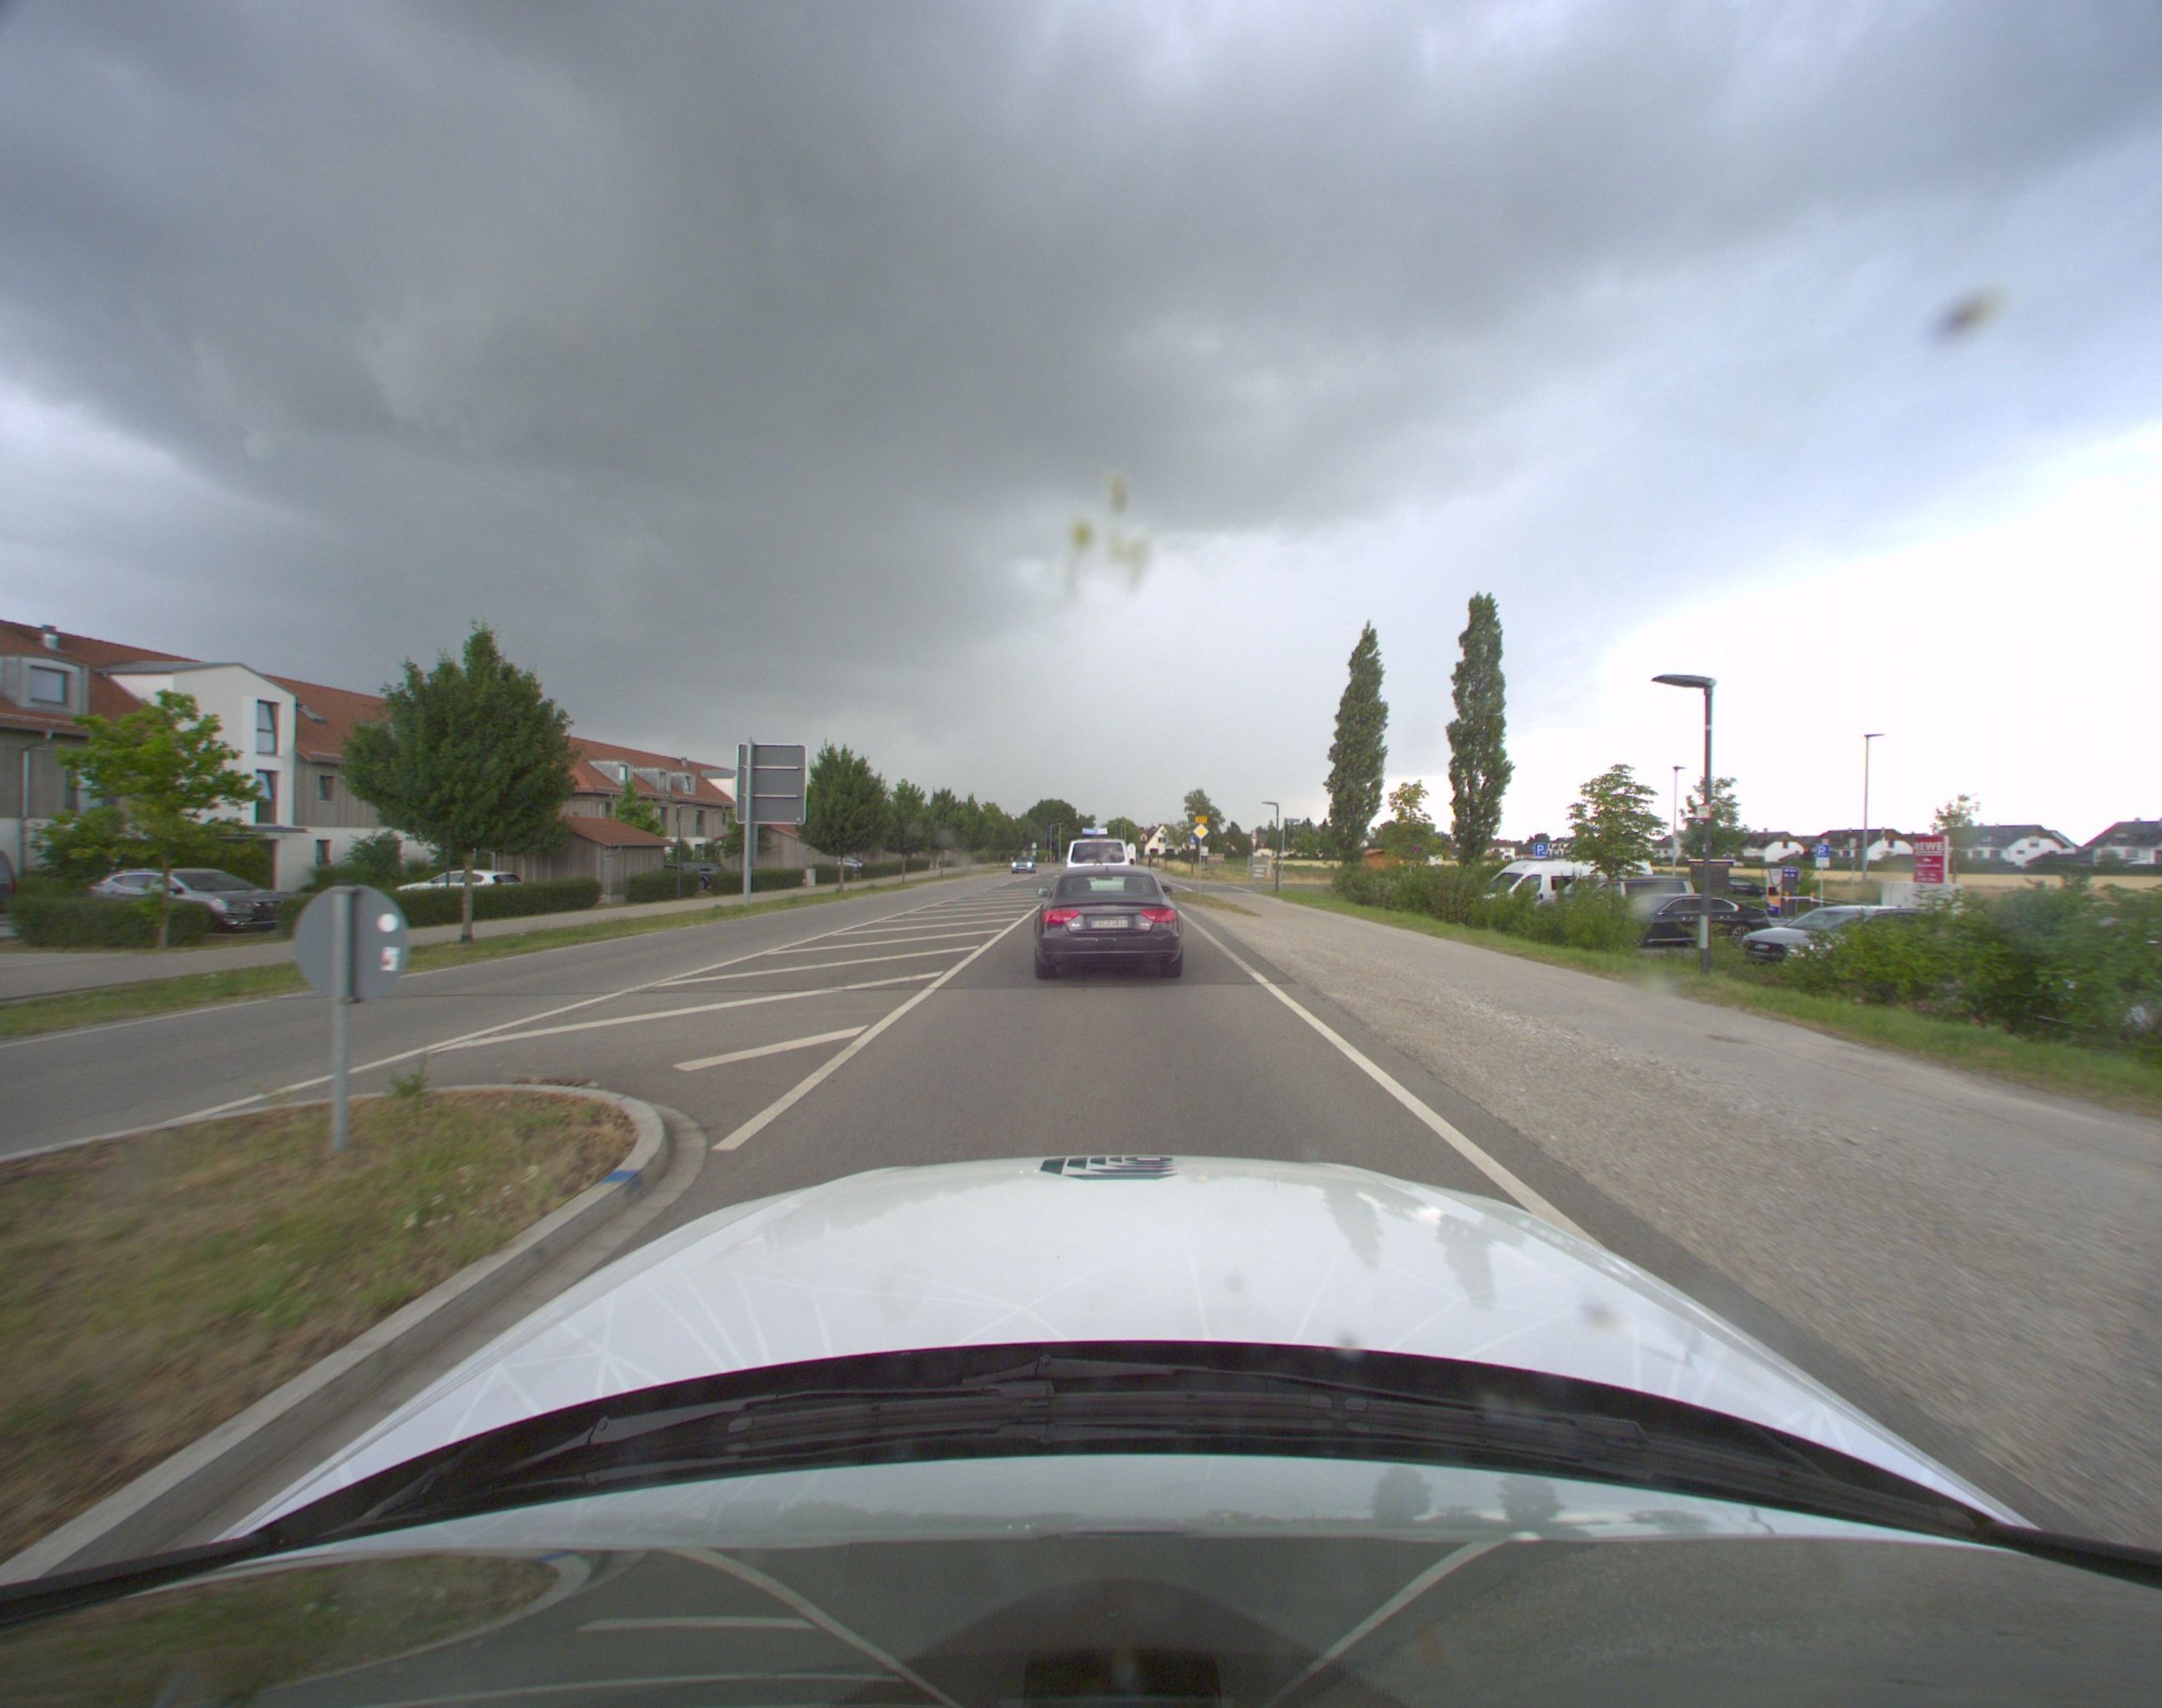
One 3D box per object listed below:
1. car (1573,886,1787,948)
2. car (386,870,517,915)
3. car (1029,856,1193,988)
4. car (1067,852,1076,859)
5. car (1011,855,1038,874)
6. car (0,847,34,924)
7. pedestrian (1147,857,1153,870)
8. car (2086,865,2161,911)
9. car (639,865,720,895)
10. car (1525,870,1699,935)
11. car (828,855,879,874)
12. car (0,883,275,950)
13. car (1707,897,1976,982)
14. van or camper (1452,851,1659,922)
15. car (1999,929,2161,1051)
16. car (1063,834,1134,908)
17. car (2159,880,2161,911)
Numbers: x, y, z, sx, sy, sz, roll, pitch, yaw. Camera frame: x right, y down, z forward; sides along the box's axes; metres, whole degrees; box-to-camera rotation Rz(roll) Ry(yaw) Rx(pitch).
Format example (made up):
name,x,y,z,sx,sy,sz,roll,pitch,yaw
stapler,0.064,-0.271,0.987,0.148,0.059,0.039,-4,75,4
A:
name,x,y,z,sx,sy,sz,roll,pitch,yaw
car,17.613,1.824,24.111,5.079,1.598,1.758,-1,0,-1
car,-22.757,1.375,29.534,3.501,1.489,1.564,-1,0,1
car,0.245,0.762,11.316,1.821,1.388,4.383,-1,0,-3
car,-1.822,0.284,158.645,1.647,1.429,3.603,-1,0,1
car,-4.698,0.838,68.003,1.763,1.443,4.002,-1,0,2
car,-30.294,0.830,20.058,1.984,2.013,5.207,3,1,5
pedestrian,8.202,1.123,97.225,0.621,1.525,0.680,-1,0,1
car,50.814,1.580,38.400,1.986,2.013,4.002,-1,0,2
car,-21.277,1.362,43.206,3.501,1.489,1.564,-1,0,1
car,17.833,1.597,27.514,4.578,2.013,2.000,-1,0,-1
car,-20.730,0.950,74.183,3.970,1.556,2.002,2,0,3
car,-23.280,1.505,20.135,4.885,1.430,1.907,-1,0,2
car,16.925,1.863,18.307,4.133,1.598,2.080,-1,0,-1
van or camper,17.634,1.166,30.502,6.447,2.464,2.281,-1,0,-1
car,17.099,2.016,12.521,4.133,1.538,1.676,-1,0,-1
car,0.479,0.442,23.551,1.820,1.913,4.000,2,0,0
car,54.027,2.053,38.386,1.738,1.508,3.581,-1,0,2
